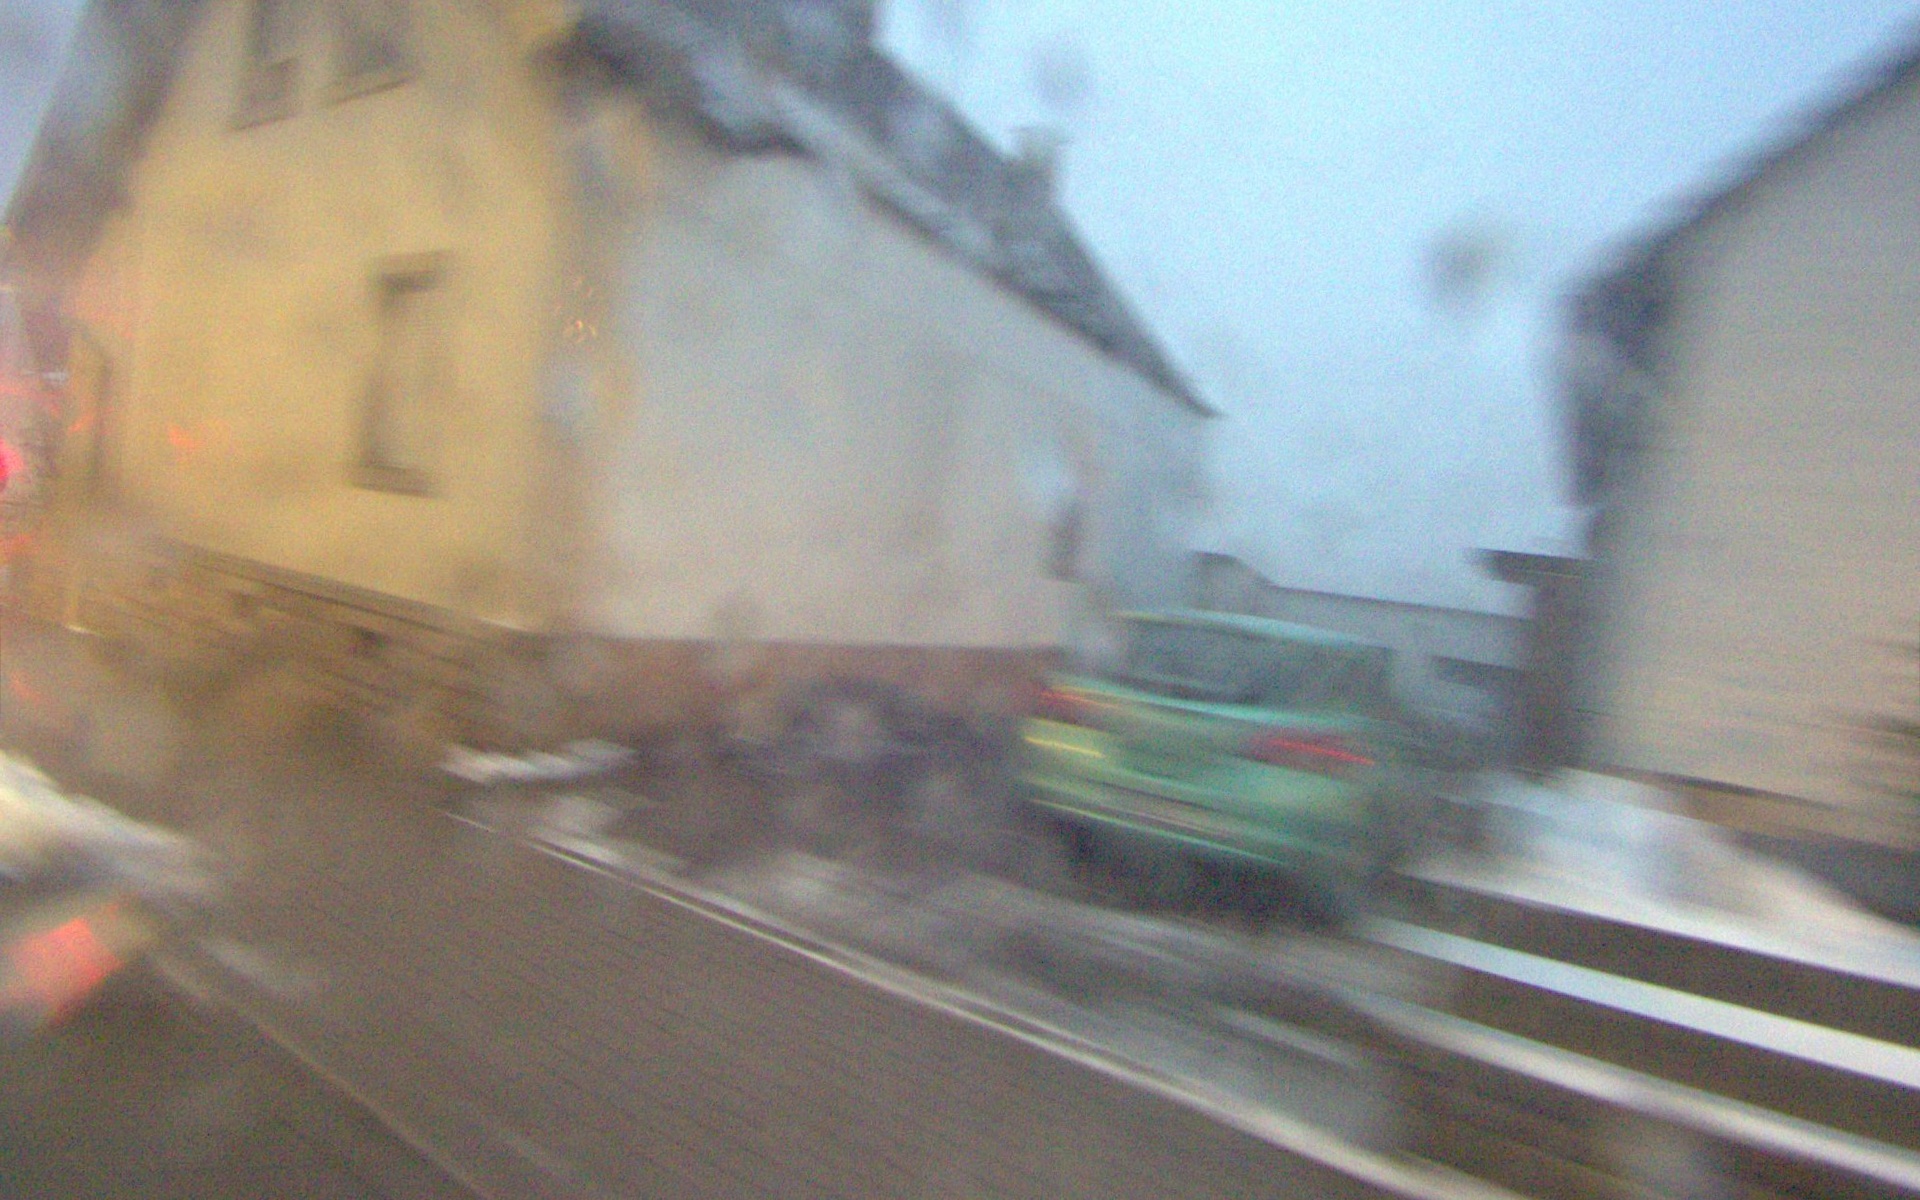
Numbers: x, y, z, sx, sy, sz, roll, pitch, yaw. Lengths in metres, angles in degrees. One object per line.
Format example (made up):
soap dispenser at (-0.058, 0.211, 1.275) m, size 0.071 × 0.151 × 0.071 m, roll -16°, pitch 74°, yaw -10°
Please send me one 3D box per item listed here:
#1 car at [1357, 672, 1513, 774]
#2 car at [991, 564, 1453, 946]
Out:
car at (8.236, 2.093, 17.261) m, size 1.551 × 1.261 × 3.989 m, roll 11°, pitch 1°, yaw 36°
car at (1.997, 0.840, 6.562) m, size 1.685 × 1.470 × 3.994 m, roll 10°, pitch 1°, yaw 31°
